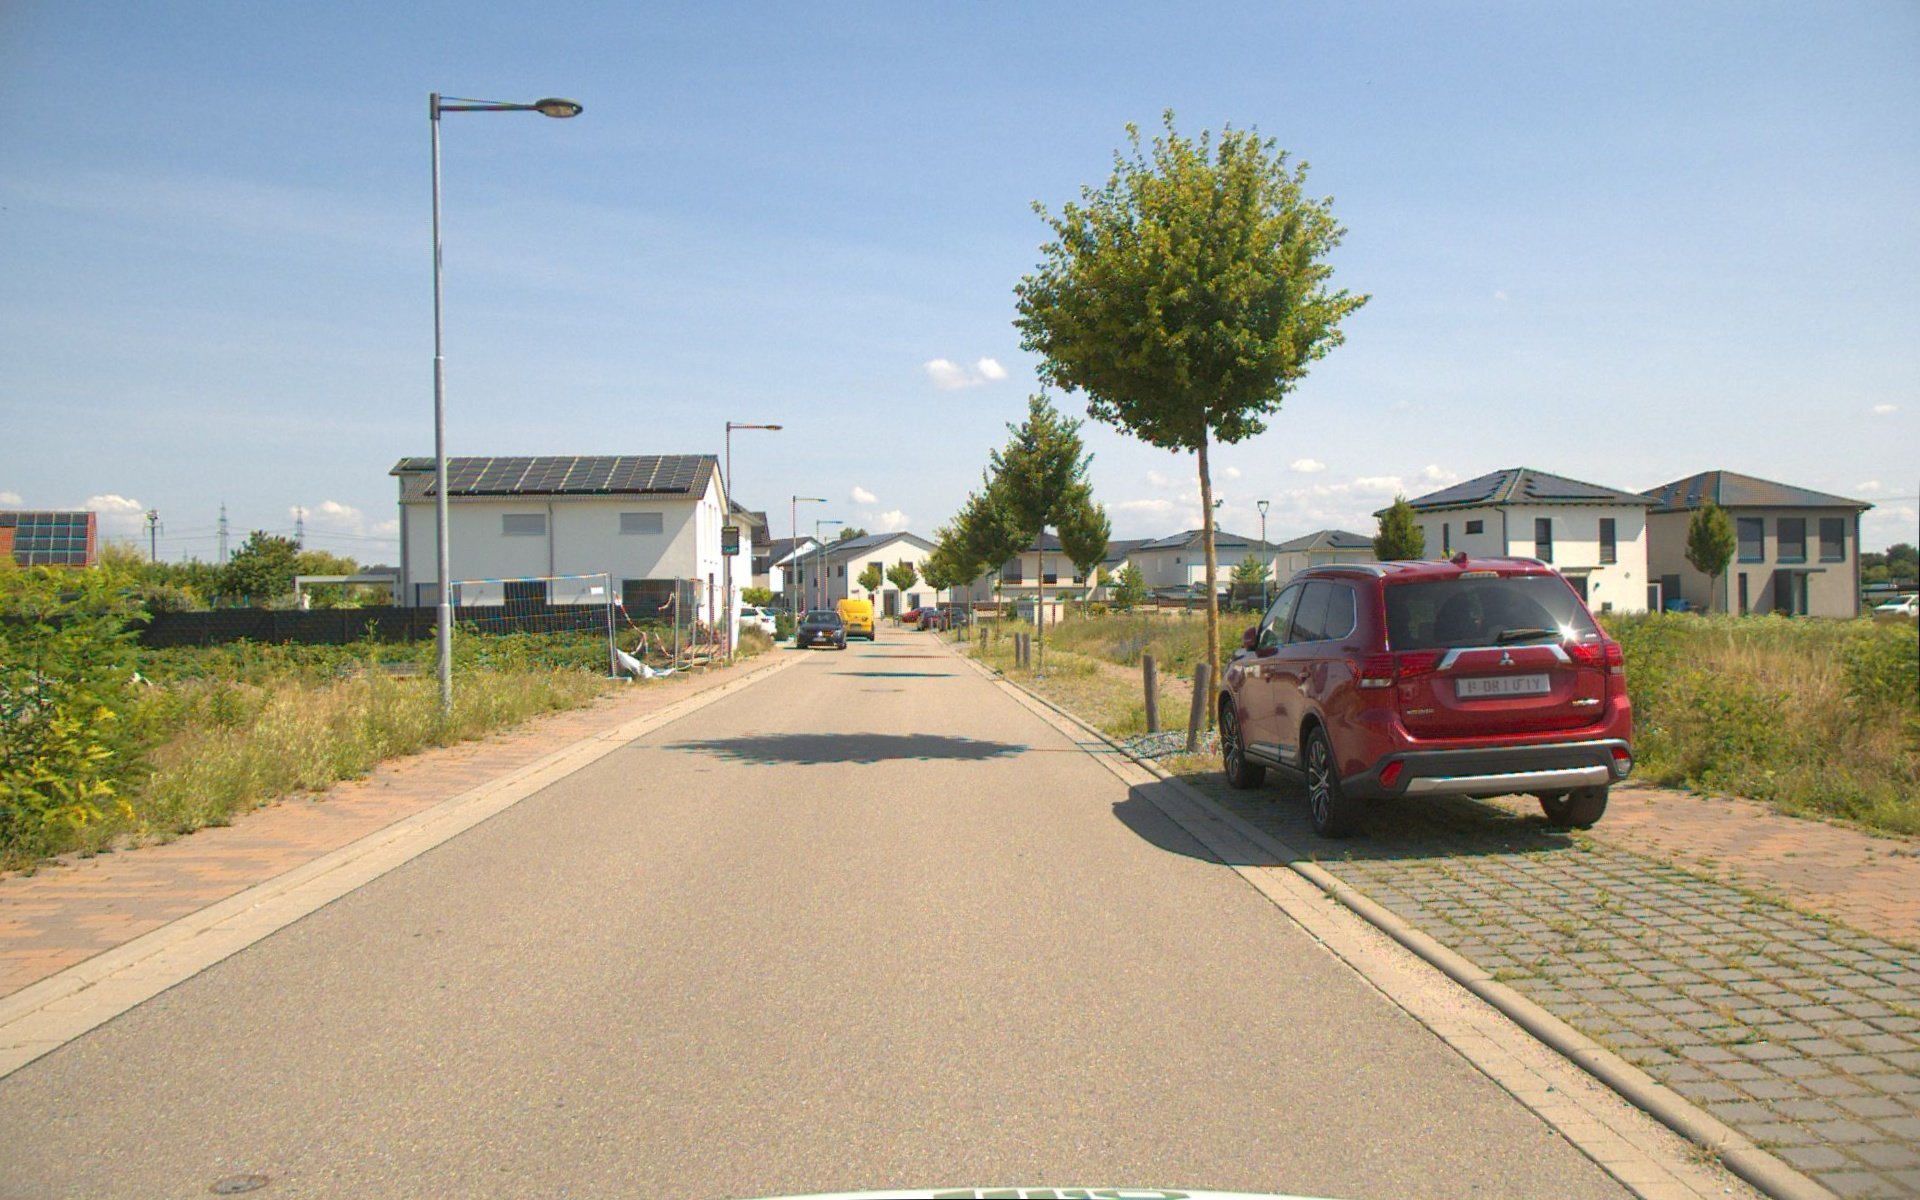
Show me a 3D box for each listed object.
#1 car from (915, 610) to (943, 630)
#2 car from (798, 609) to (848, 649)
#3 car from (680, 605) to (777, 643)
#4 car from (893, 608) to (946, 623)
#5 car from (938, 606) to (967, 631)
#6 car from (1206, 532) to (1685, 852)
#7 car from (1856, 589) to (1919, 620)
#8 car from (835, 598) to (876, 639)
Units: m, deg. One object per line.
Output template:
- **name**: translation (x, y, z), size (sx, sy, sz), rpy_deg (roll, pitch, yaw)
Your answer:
- **car**: translation (-2.305, 1.457, 122.013), size (1.598, 1.346, 3.825), rpy_deg (-1, -2, -9)
- **car**: translation (-5.206, 1.084, 63.096), size (1.710, 1.429, 4.157), rpy_deg (1, 0, -2)
- **car**: translation (-10.241, 1.049, 73.345), size (3.983, 1.609, 1.785), rpy_deg (1, 0, 3)
- **car**: translation (-3.802, 1.483, 155.984), size (4.638, 1.457, 1.979), rpy_deg (1, -1, -31)
- **car**: translation (-0.463, 1.188, 103.469), size (1.606, 1.427, 3.808), rpy_deg (-1, -2, -3)
- **car**: translation (3.015, 0.493, 11.336), size (1.741, 1.692, 4.431), rpy_deg (-2, 0, -3)
- **car**: translation (46.195, 0.204, 81.036), size (3.922, 1.423, 1.743), rpy_deg (-1, -1, -16)
- **car**: translation (-5.290, 0.952, 83.195), size (1.904, 2.016, 4.211), rpy_deg (-1, -1, -6)
